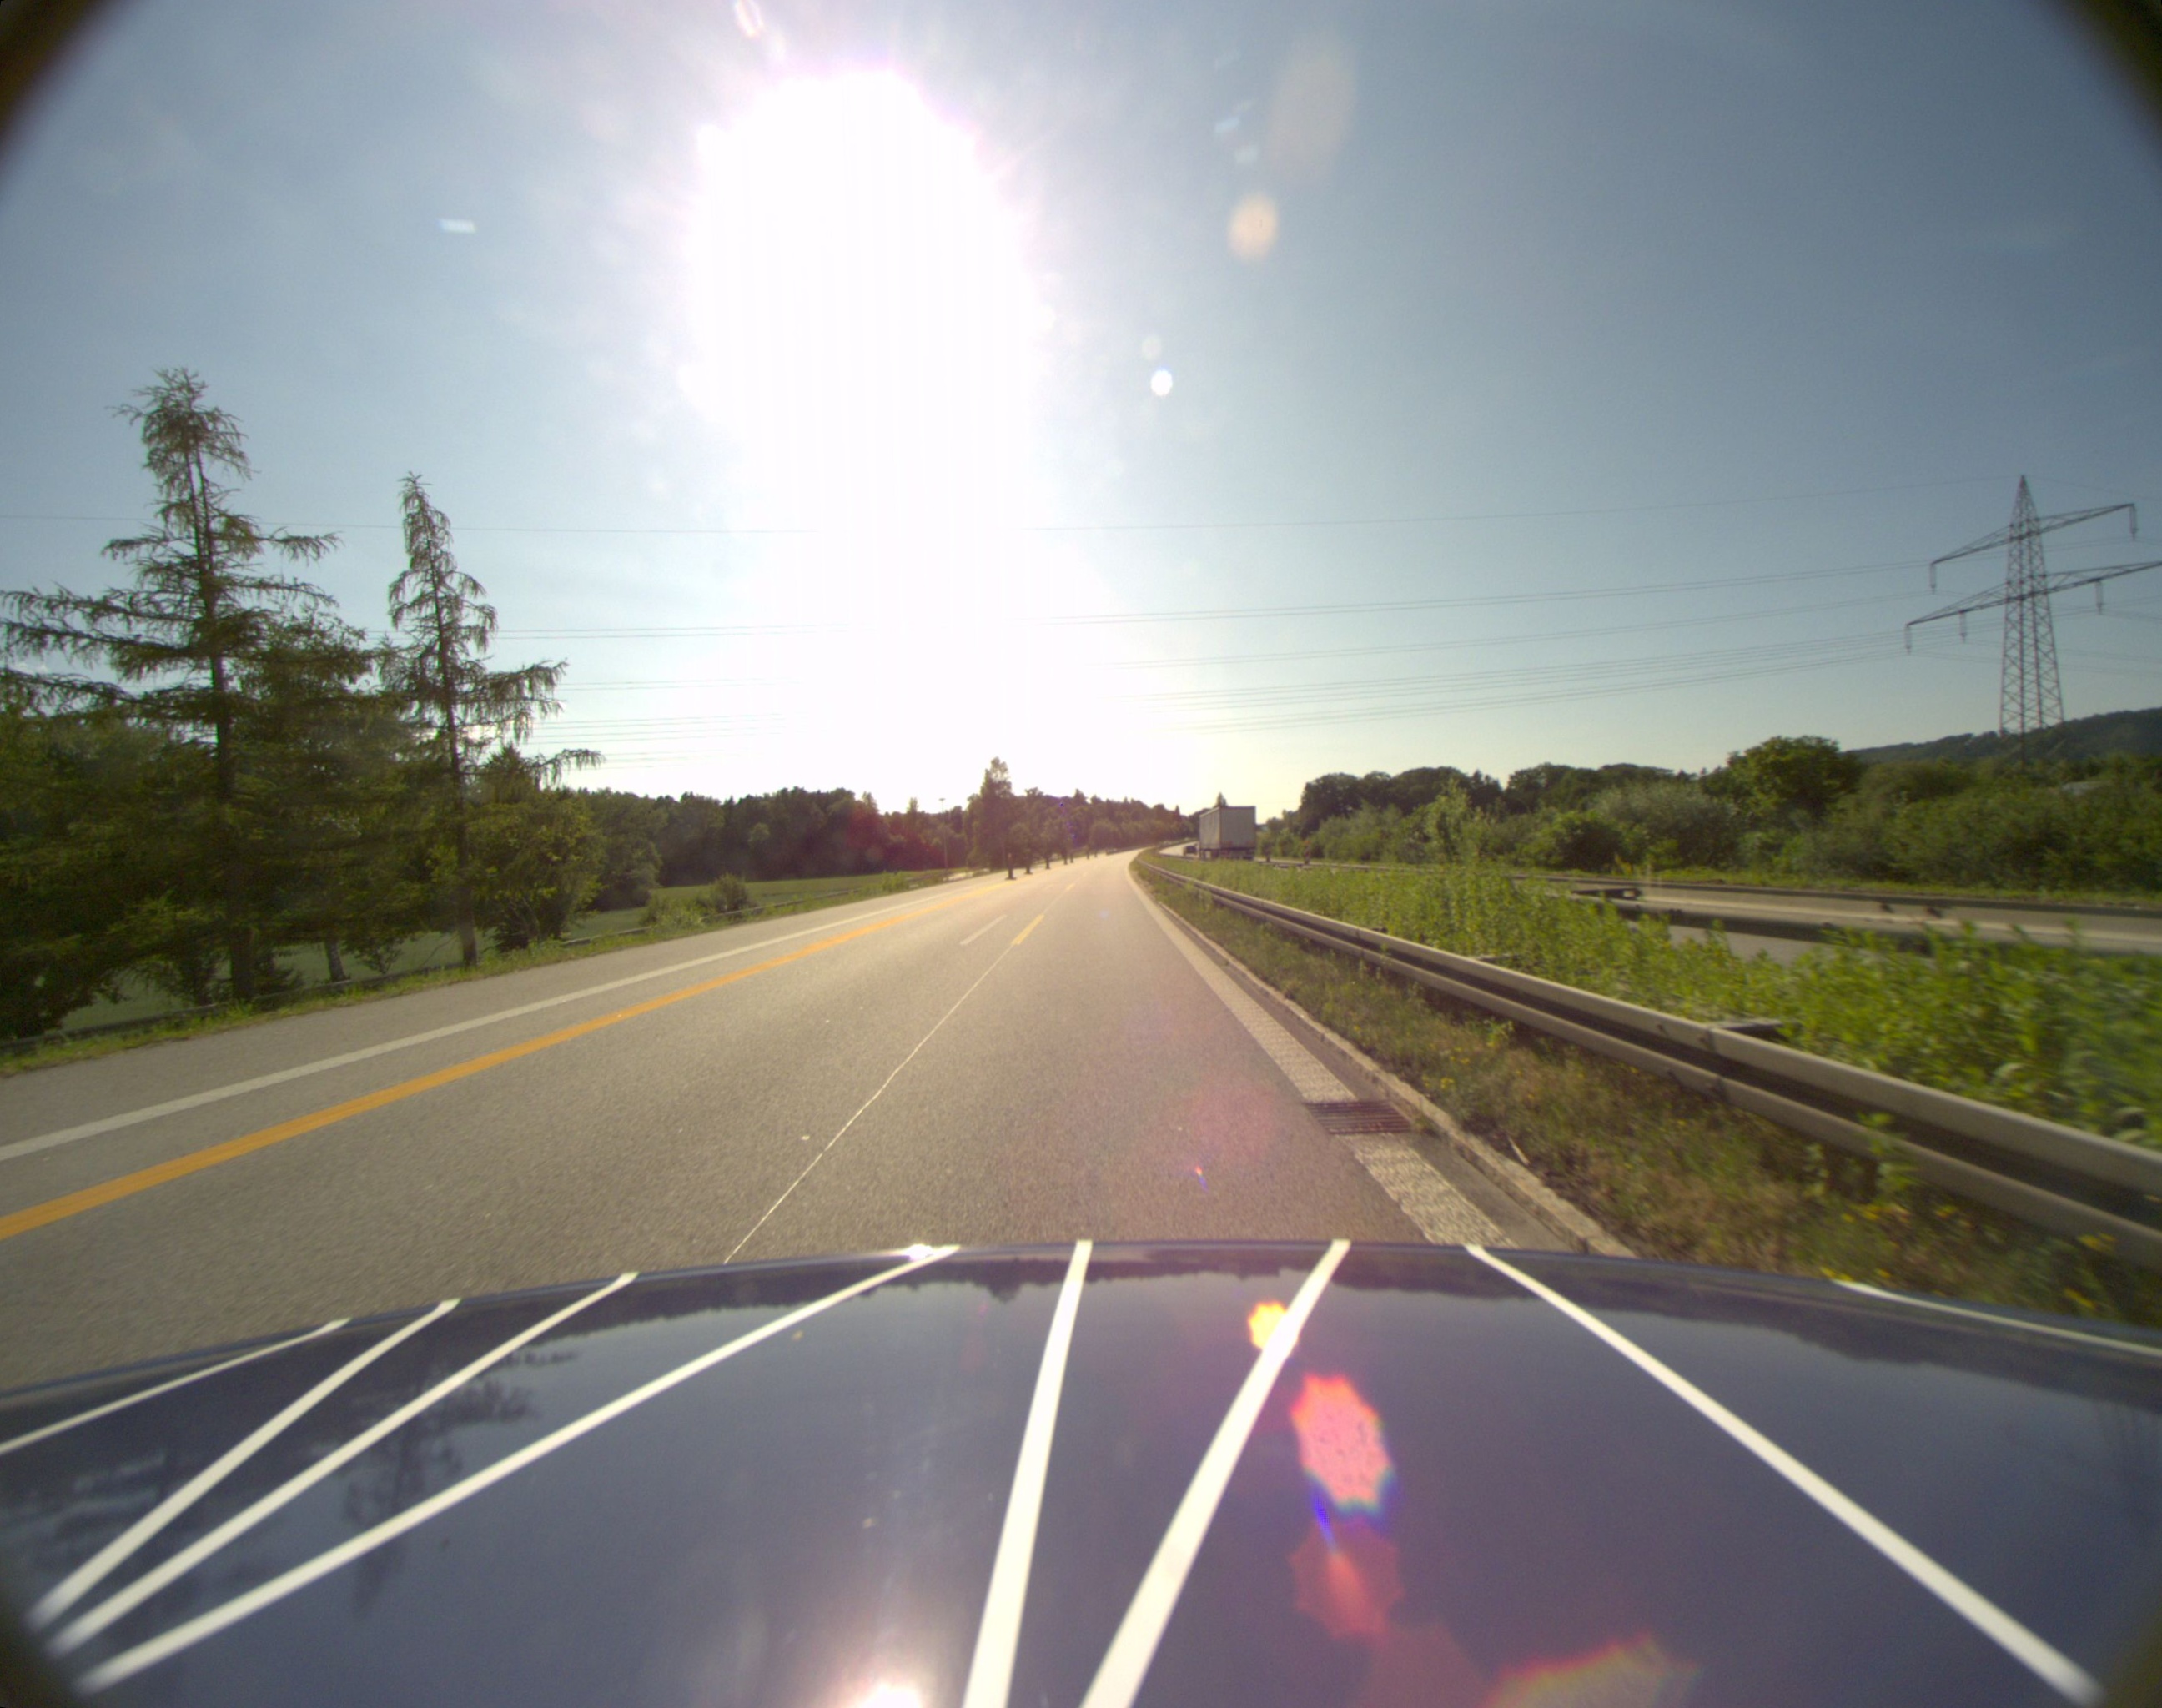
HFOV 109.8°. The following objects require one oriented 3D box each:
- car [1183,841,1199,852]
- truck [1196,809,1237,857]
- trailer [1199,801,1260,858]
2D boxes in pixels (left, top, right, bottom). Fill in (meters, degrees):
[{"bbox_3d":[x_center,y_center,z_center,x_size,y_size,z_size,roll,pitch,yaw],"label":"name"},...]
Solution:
[{"bbox_3d":[15.042,-1.011,103.742,1.781,1.421,4.269,-1,1,3],"label":"car"},{"bbox_3d":[11.822,-1.786,66.753,2.638,3.937,5.842,-2,1,2],"label":"truck"},{"bbox_3d":[11.540,-1.749,60.471,2.685,3.931,13.770,-2,0,3],"label":"trailer"}]
